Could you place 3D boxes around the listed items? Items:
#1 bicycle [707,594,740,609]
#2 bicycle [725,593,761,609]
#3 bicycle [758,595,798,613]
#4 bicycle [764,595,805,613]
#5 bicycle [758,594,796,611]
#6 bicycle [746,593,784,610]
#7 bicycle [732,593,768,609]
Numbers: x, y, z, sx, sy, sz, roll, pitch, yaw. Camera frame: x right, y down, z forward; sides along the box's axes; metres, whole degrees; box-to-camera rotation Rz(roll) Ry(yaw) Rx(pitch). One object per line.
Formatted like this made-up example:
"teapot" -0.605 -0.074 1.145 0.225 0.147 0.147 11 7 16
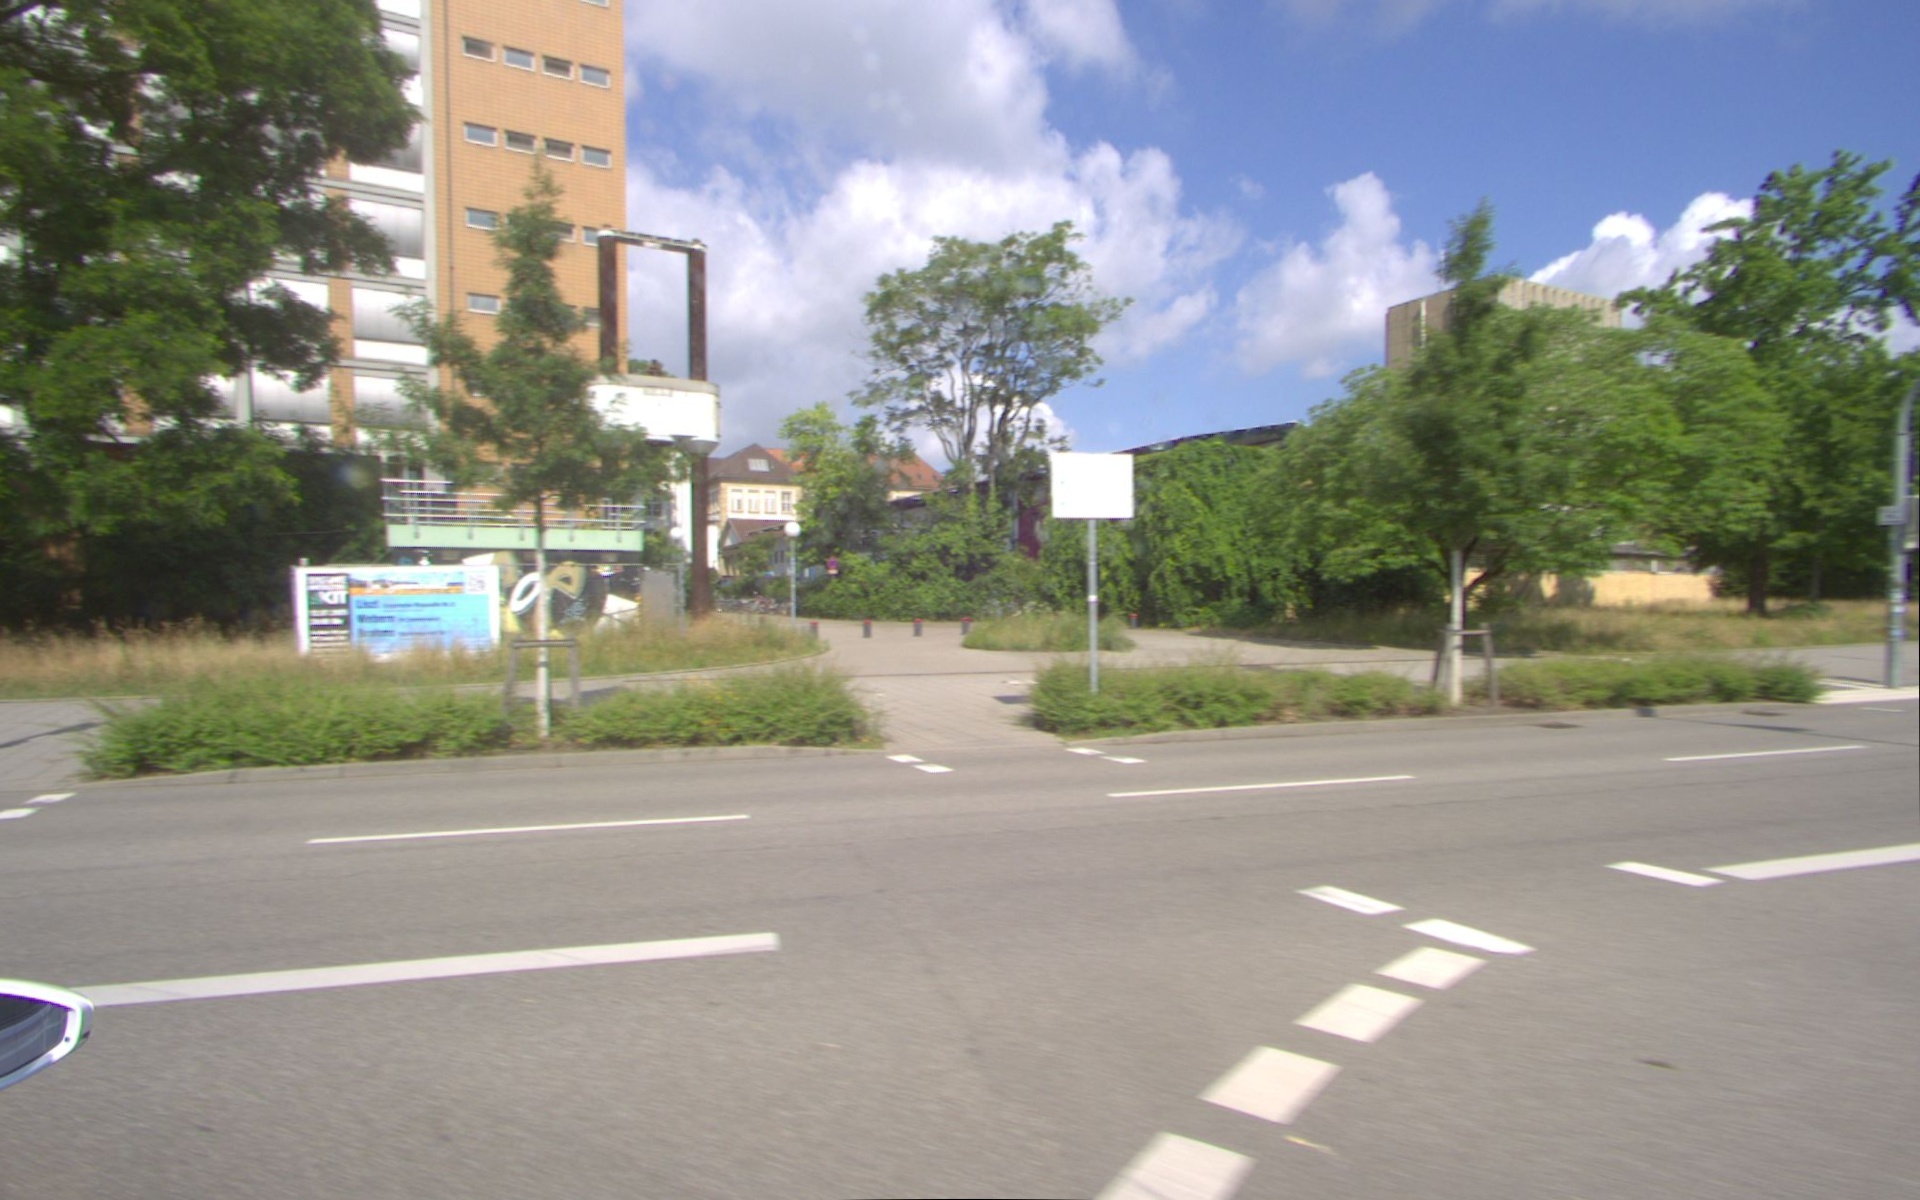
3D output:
"bicycle" -15.649 0.087 66.226 2.030 0.949 0.800 -1 1 -28
"bicycle" -13.641 0.048 62.917 2.030 0.949 0.800 -1 1 -28
"bicycle" -10.031 0.222 55.314 2.030 0.949 0.800 -1 1 -28
"bicycle" -9.426 0.199 53.862 2.030 0.949 0.800 -1 1 -28
"bicycle" -10.614 0.120 57.967 2.030 0.949 0.800 -1 1 -28
"bicycle" -11.489 0.096 59.060 2.030 0.949 0.800 -1 1 -28
"bicycle" -13.022 0.061 62.040 2.030 0.949 0.800 -1 1 -28
